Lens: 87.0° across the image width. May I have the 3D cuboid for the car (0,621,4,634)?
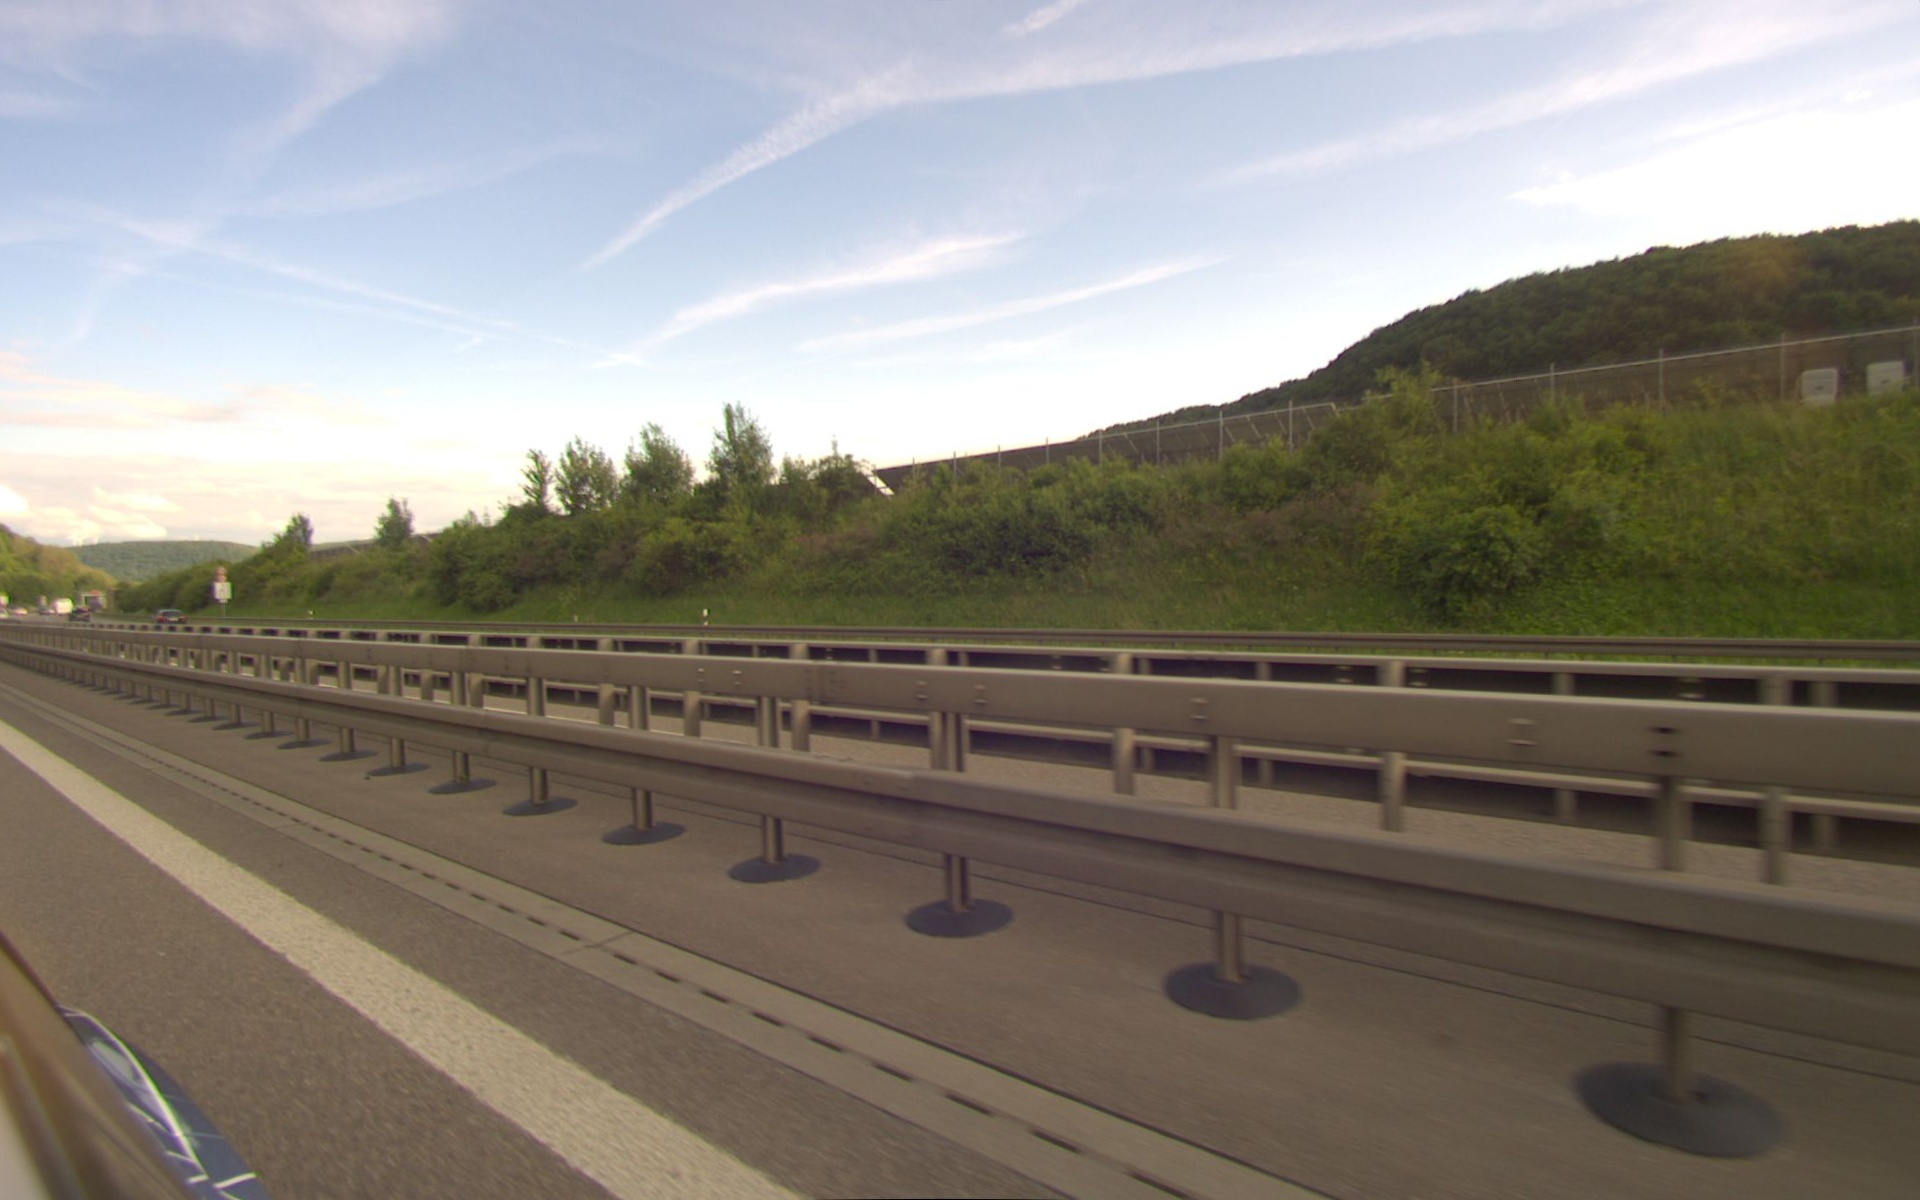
[{"bbox_3d":[-122.654,3.469,128.304,5.019,1.603,1.813,-1,0,43],"label":"car"}]

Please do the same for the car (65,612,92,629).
[{"bbox_3d":[-107.384,2.491,123.294,5.019,2.055,1.941,-1,0,43],"label":"car"}]

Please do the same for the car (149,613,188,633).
[{"bbox_3d":[-60.070,1.711,76.798,3.999,1.426,1.688,-1,0,42],"label":"car"}]
